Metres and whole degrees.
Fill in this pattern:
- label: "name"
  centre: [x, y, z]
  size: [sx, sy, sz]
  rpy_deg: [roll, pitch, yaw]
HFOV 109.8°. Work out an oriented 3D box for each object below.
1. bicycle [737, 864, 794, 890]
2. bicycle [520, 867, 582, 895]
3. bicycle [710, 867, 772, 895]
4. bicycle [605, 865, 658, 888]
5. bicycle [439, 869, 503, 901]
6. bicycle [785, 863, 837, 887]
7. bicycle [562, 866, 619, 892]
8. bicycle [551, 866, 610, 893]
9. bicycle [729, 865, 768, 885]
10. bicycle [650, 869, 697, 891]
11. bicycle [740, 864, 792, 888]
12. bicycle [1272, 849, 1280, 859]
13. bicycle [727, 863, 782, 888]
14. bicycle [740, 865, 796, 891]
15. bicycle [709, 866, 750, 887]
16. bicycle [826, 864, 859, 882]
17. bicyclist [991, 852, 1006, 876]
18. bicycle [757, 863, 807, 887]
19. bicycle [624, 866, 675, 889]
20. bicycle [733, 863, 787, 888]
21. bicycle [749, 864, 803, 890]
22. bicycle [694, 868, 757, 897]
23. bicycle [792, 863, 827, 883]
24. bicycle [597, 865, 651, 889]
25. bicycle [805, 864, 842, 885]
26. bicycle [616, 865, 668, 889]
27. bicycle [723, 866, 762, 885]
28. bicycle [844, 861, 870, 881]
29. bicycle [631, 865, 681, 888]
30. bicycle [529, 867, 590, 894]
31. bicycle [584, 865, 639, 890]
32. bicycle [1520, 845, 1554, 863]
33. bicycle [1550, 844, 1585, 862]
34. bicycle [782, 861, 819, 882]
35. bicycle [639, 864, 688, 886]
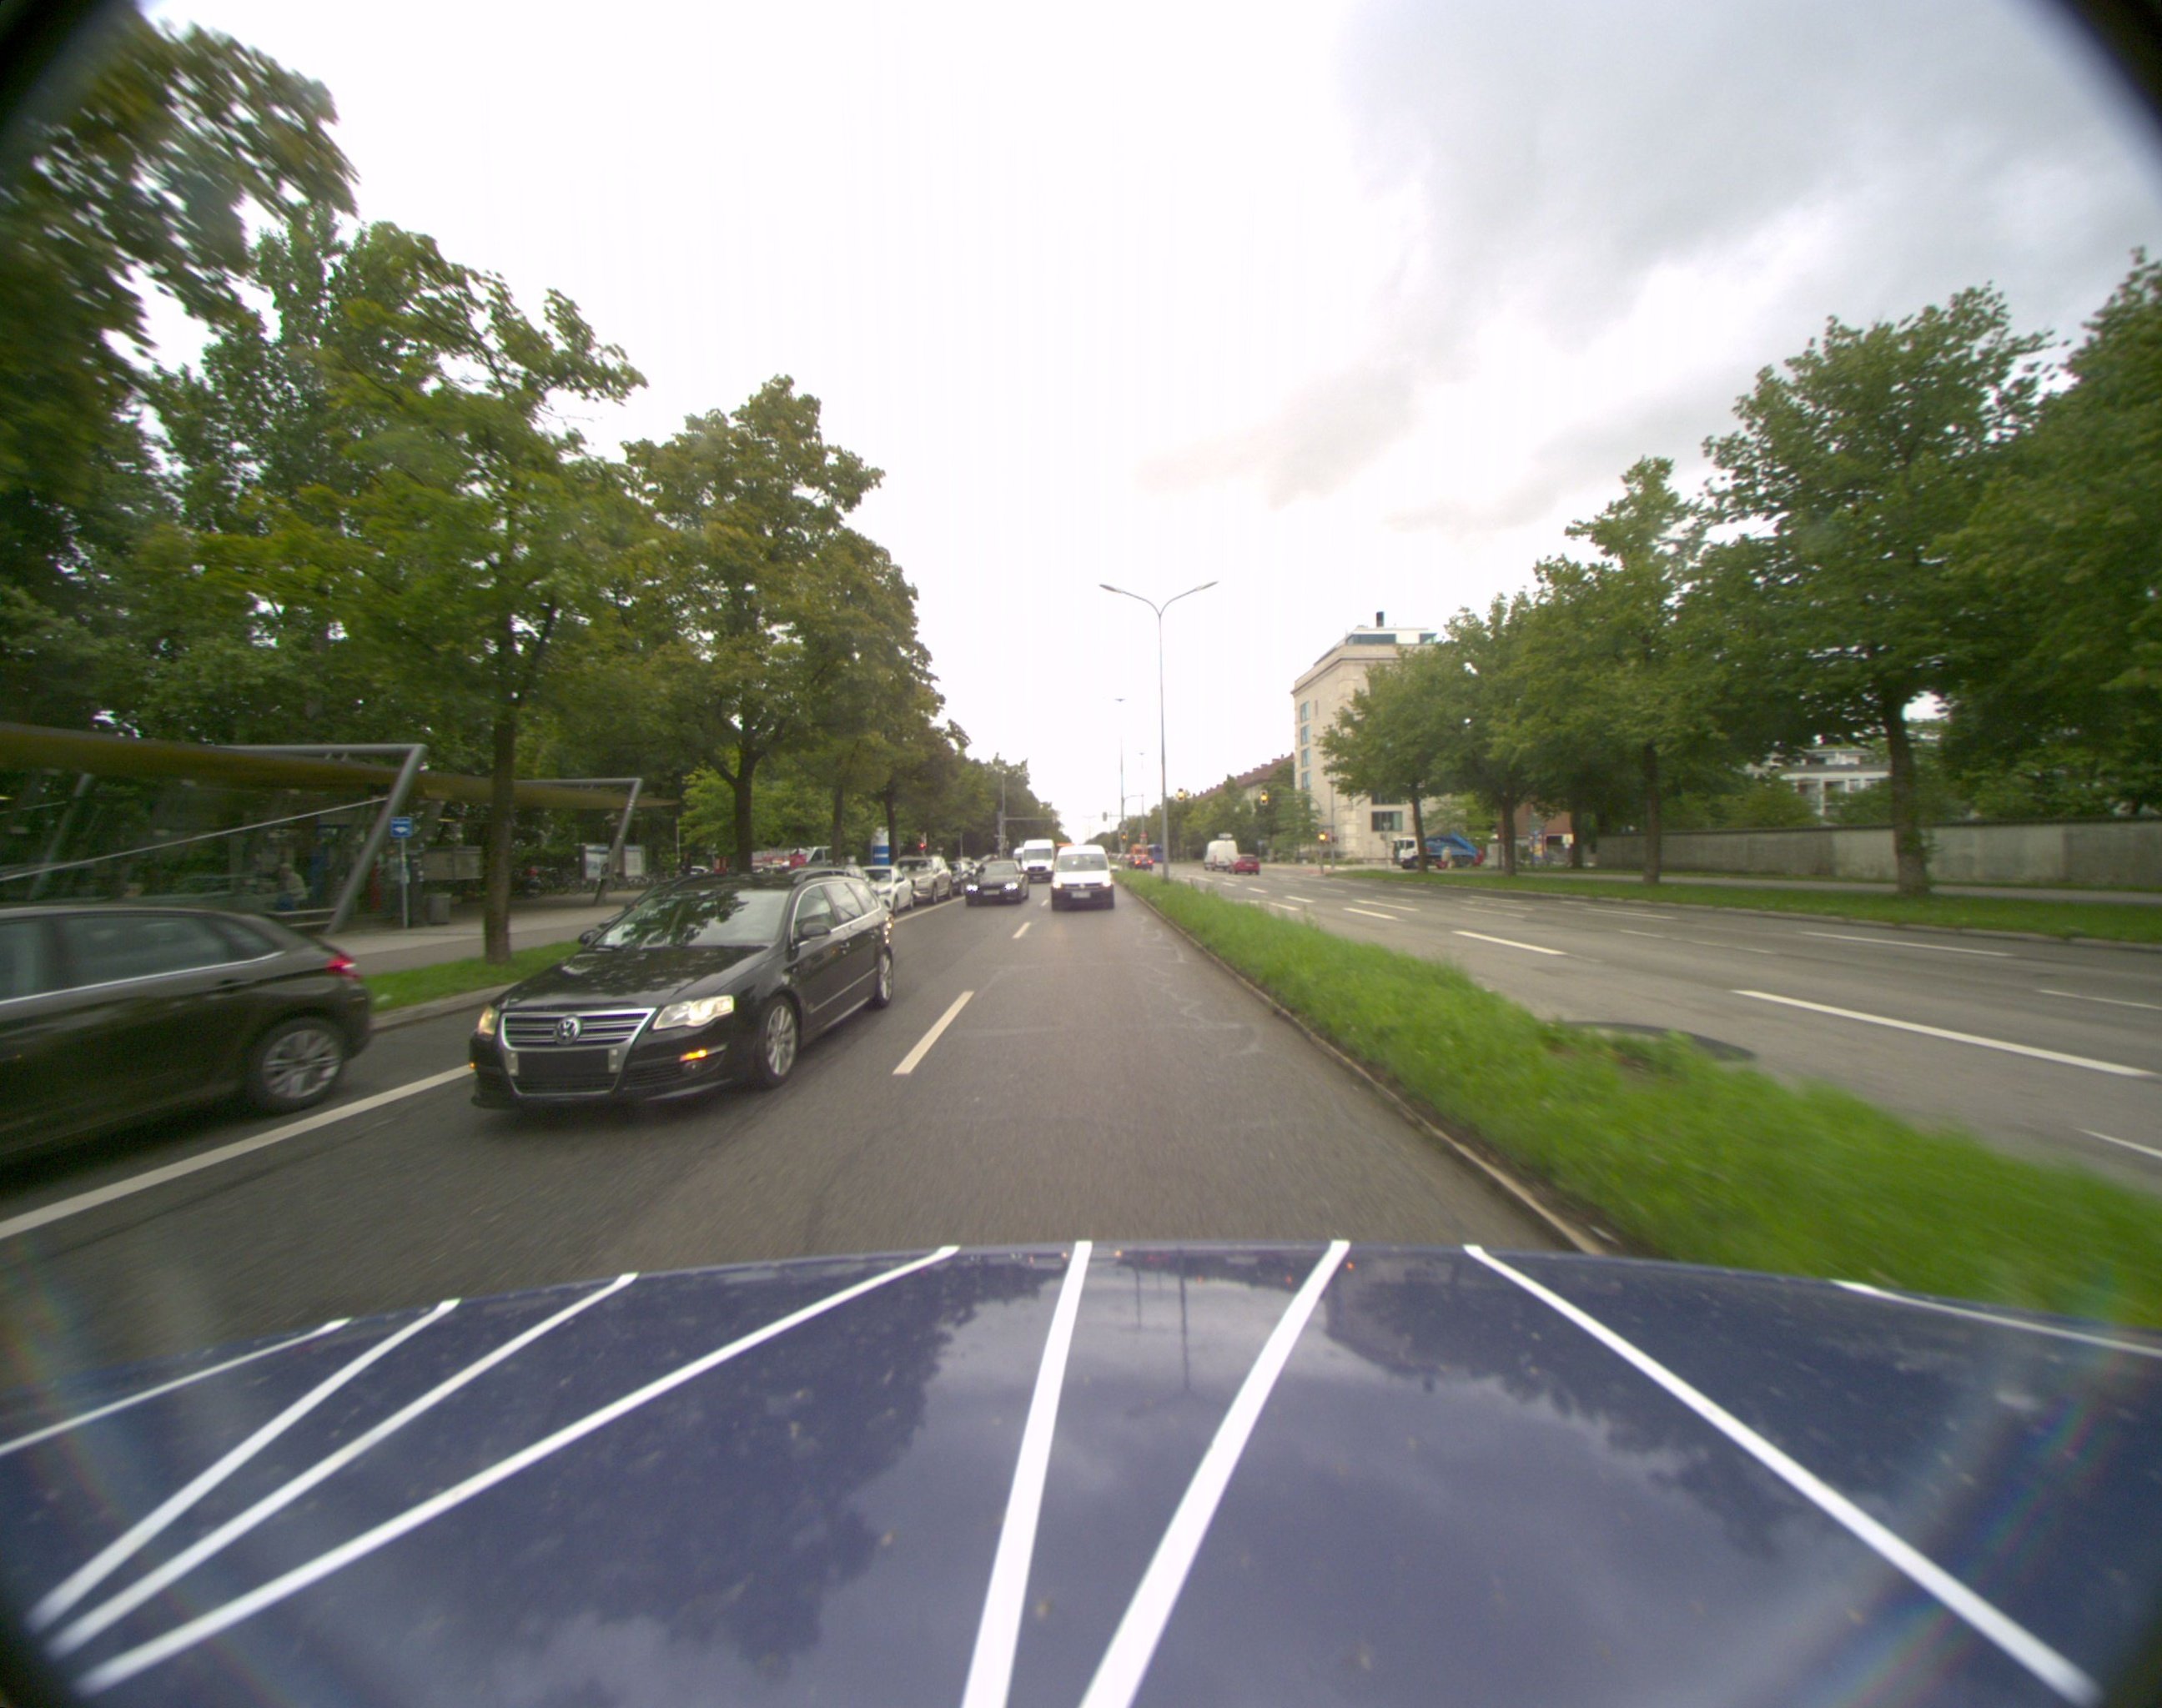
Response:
- label: "bicycle"
  centre: [-14.453, 1.052, 34.832]
  size: [2.344, 1.151, 0.529]
  rpy_deg: [1, 1, 0]
- label: "bicycle"
  centre: [-23.163, 1.179, 33.219]
  size: [2.344, 1.151, 0.529]
  rpy_deg: [1, 1, 0]
- label: "bicycle"
  centre: [-14.440, 1.147, 32.337]
  size: [2.346, 1.151, 0.529]
  rpy_deg: [1, 1, -8]
- label: "bicycle"
  centre: [-22.754, 1.137, 38.467]
  size: [2.344, 1.151, 0.529]
  rpy_deg: [1, 1, 0]
- label: "bicycle"
  centre: [-23.879, 1.201, 29.805]
  size: [0.528, 1.151, 2.346]
  rpy_deg: [1, 0, 3]
- label: "bicycle"
  centre: [-13.419, 1.052, 37.801]
  size: [2.344, 1.151, 0.585]
  rpy_deg: [1, 1, 0]
- label: "bicycle"
  centre: [-22.880, 1.157, 35.449]
  size: [2.344, 1.151, 0.529]
  rpy_deg: [1, 1, 0]
- label: "bicycle"
  centre: [-22.951, 1.162, 34.857]
  size: [2.344, 1.151, 0.529]
  rpy_deg: [1, 1, 0]
- label: "bicycle"
  centre: [-20.874, 1.322, 47.712]
  size: [0.716, 1.147, 2.133]
  rpy_deg: [-1, 1, 41]
- label: "bicycle"
  centre: [-22.714, 1.424, 42.388]
  size: [2.133, 1.147, 0.716]
  rpy_deg: [-2, 1, -43]
- label: "bicycle"
  centre: [-15.827, 1.093, 38.208]
  size: [2.344, 1.151, 0.585]
  rpy_deg: [1, 1, 0]
- label: "bicycle"
  centre: [23.628, 0.030, 92.078]
  size: [0.546, 1.174, 1.826]
  rpy_deg: [-1, 1, 0]
- label: "bicycle"
  centre: [-15.678, 1.049, 36.521]
  size: [2.344, 1.151, 0.585]
  rpy_deg: [1, 1, 0]
- label: "bicycle"
  centre: [-14.567, 1.103, 35.384]
  size: [2.344, 1.151, 0.529]
  rpy_deg: [1, 1, 0]
- label: "bicycle"
  centre: [-21.259, 1.346, 46.015]
  size: [0.716, 1.147, 2.133]
  rpy_deg: [-1, 1, 41]
- label: "bicycle"
  centre: [-14.363, 1.124, 45.805]
  size: [1.812, 1.065, 0.567]
  rpy_deg: [0, 1, -11]
- label: "bicyclist"
  centre: [-6.092, 0.714, 55.998]
  size: [0.829, 1.754, 0.744]
  rpy_deg: [-2, 1, -35]
- label: "bicycle"
  centre: [-15.280, 1.084, 38.853]
  size: [2.344, 1.151, 0.585]
  rpy_deg: [1, 1, 0]
- label: "bicycle"
  centre: [-22.569, 1.202, 39.743]
  size: [2.344, 1.151, 0.529]
  rpy_deg: [1, 1, 0]
- label: "bicycle"
  centre: [-15.677, 1.046, 37.131]
  size: [2.344, 1.151, 0.585]
  rpy_deg: [1, 1, 0]
- label: "bicycle"
  centre: [-14.419, 1.075, 35.933]
  size: [2.344, 1.151, 0.529]
  rpy_deg: [1, 1, 0]
- label: "bicycle"
  centre: [-14.688, 1.162, 31.426]
  size: [2.344, 1.151, 0.529]
  rpy_deg: [1, 1, 0]
- label: "bicycle"
  centre: [-15.499, 1.072, 43.350]
  size: [1.810, 1.136, 0.567]
  rpy_deg: [0, 1, 6]
- label: "bicycle"
  centre: [-22.686, 1.138, 37.743]
  size: [2.344, 1.151, 0.529]
  rpy_deg: [1, 1, 0]
- label: "bicycle"
  centre: [-14.057, 1.108, 41.490]
  size: [1.810, 1.136, 0.567]
  rpy_deg: [0, 1, 6]
- label: "bicycle"
  centre: [-22.629, 1.191, 39.158]
  size: [2.344, 1.151, 0.529]
  rpy_deg: [1, 1, 0]
- label: "bicycle"
  centre: [-21.461, 1.345, 48.262]
  size: [0.716, 1.147, 2.133]
  rpy_deg: [-1, 1, 41]
- label: "bicycle"
  centre: [-13.964, 1.037, 47.408]
  size: [0.863, 1.191, 2.000]
  rpy_deg: [0, 1, 5]
- label: "bicycle"
  centre: [-22.554, 1.194, 40.334]
  size: [2.344, 1.151, 0.529]
  rpy_deg: [1, 1, 0]
- label: "bicycle"
  centre: [-23.209, 1.178, 33.855]
  size: [2.344, 1.151, 0.529]
  rpy_deg: [1, 1, 0]
- label: "bicycle"
  centre: [-22.671, 1.142, 36.686]
  size: [2.344, 1.151, 0.529]
  rpy_deg: [1, 1, 0]
- label: "bicycle"
  centre: [31.880, -0.020, 53.197]
  size: [0.837, 1.179, 2.496]
  rpy_deg: [-1, 0, -1]
- label: "bicycle"
  centre: [33.769, -0.063, 52.809]
  size: [0.837, 1.179, 2.496]
  rpy_deg: [-1, 0, -1]
- label: "bicycle"
  centre: [-16.312, 1.012, 44.230]
  size: [1.946, 1.205, 0.567]
  rpy_deg: [0, 1, -11]
- label: "bicycle"
  centre: [-22.475, 1.114, 40.926]
  size: [2.344, 1.151, 0.529]
  rpy_deg: [1, 1, 0]
